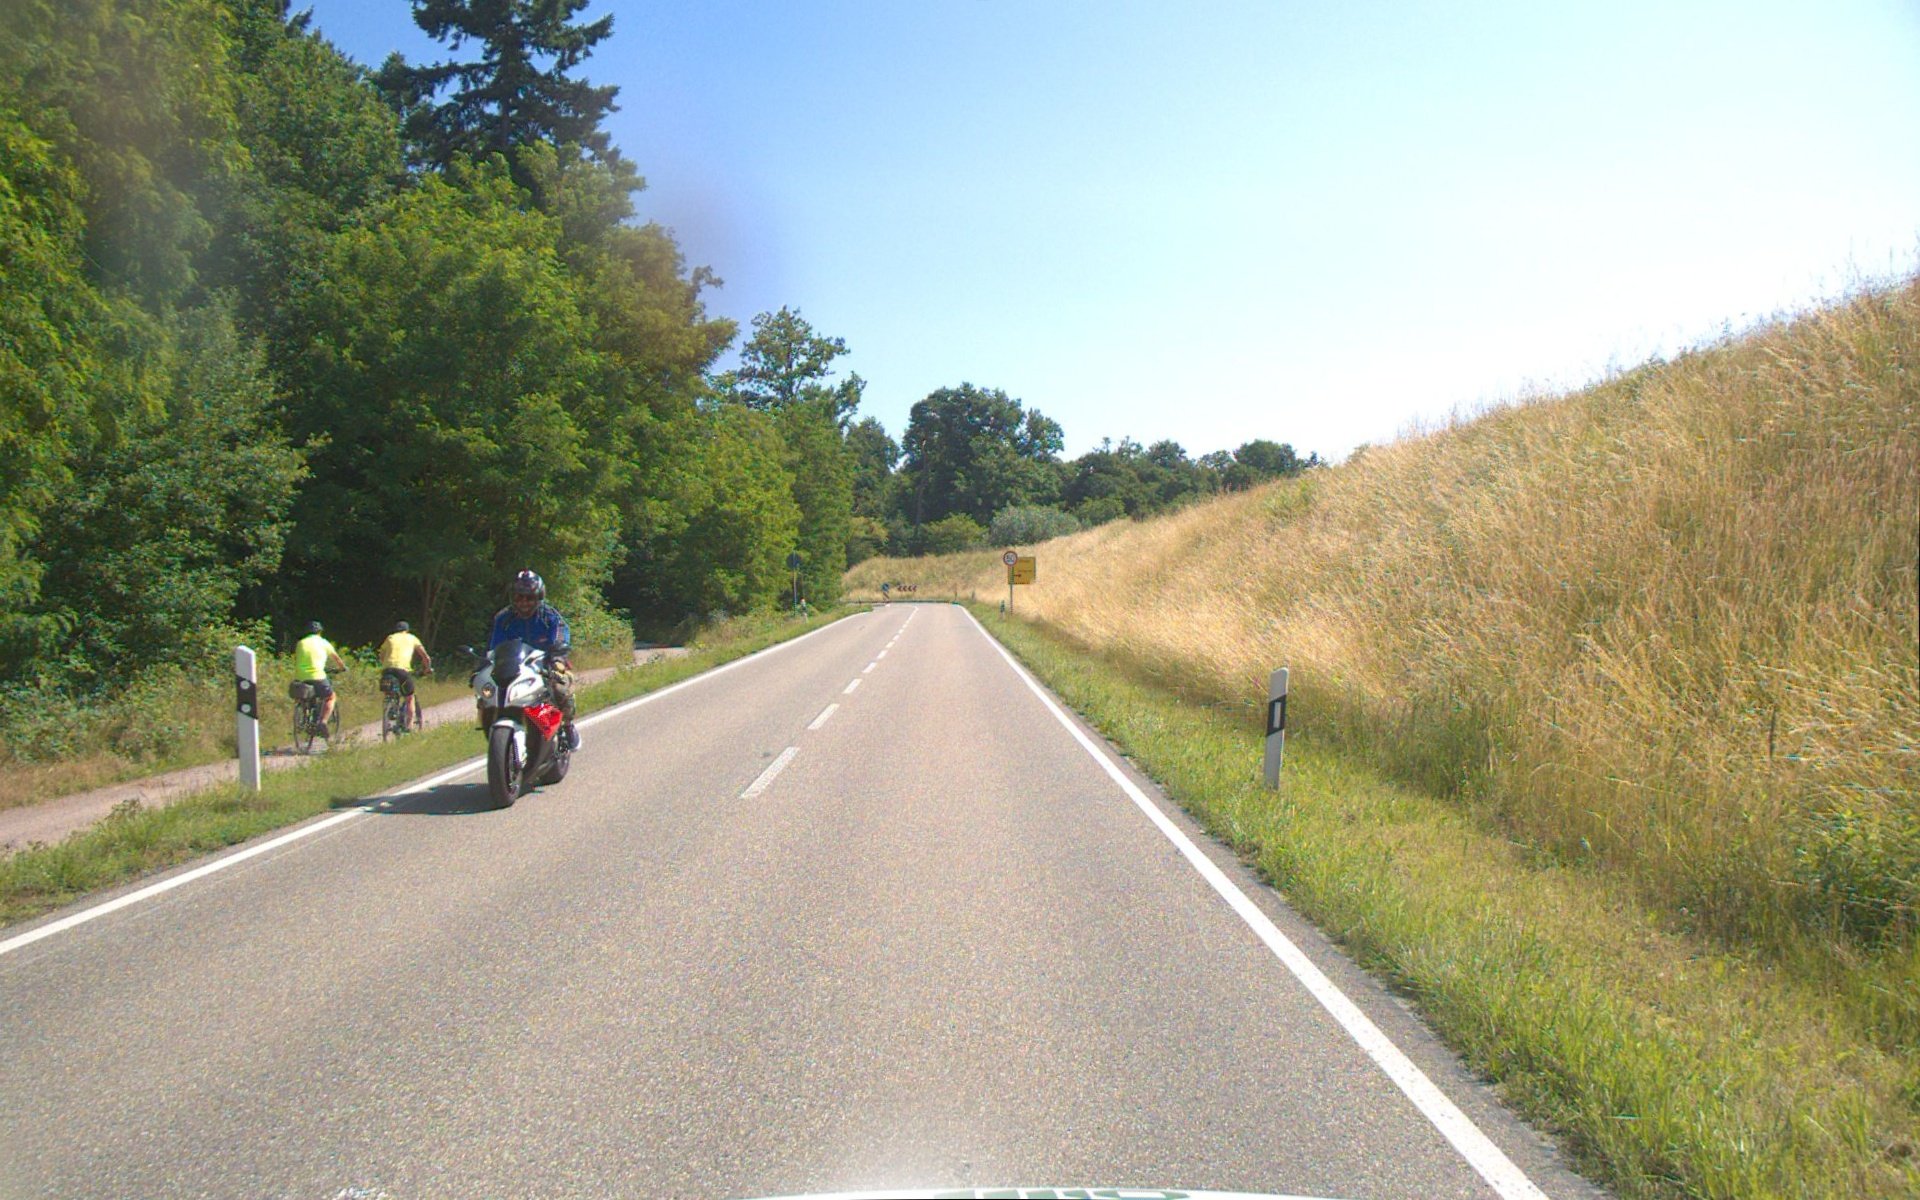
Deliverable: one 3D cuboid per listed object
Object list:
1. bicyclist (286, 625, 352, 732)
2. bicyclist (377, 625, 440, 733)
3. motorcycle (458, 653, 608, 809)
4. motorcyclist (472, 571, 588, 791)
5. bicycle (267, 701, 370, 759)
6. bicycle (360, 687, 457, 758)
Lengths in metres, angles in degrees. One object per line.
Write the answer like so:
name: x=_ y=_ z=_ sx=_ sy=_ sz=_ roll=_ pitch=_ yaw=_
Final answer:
bicyclist: x=-8.835 y=1.080 z=22.825 sx=0.593 sy=1.440 sz=0.702 roll=1 pitch=-2 yaw=-1
bicyclist: x=-7.636 y=1.081 z=22.912 sx=0.593 sy=1.440 sz=0.702 roll=-2 pitch=0 yaw=-1
motorcycle: x=-3.138 y=0.927 z=12.333 sx=0.626 sy=1.002 sz=2.006 roll=1 pitch=0 yaw=-1
motorcyclist: x=-3.158 y=0.575 z=12.192 sx=0.646 sy=1.555 sz=0.813 roll=1 pitch=0 yaw=-3
bicycle: x=-8.854 y=1.778 z=22.908 sx=0.606 sy=0.693 sz=2.136 roll=1 pitch=-2 yaw=-1
bicycle: x=-7.643 y=1.680 z=23.006 sx=0.627 sy=0.802 sz=2.136 roll=-2 pitch=0 yaw=-1
